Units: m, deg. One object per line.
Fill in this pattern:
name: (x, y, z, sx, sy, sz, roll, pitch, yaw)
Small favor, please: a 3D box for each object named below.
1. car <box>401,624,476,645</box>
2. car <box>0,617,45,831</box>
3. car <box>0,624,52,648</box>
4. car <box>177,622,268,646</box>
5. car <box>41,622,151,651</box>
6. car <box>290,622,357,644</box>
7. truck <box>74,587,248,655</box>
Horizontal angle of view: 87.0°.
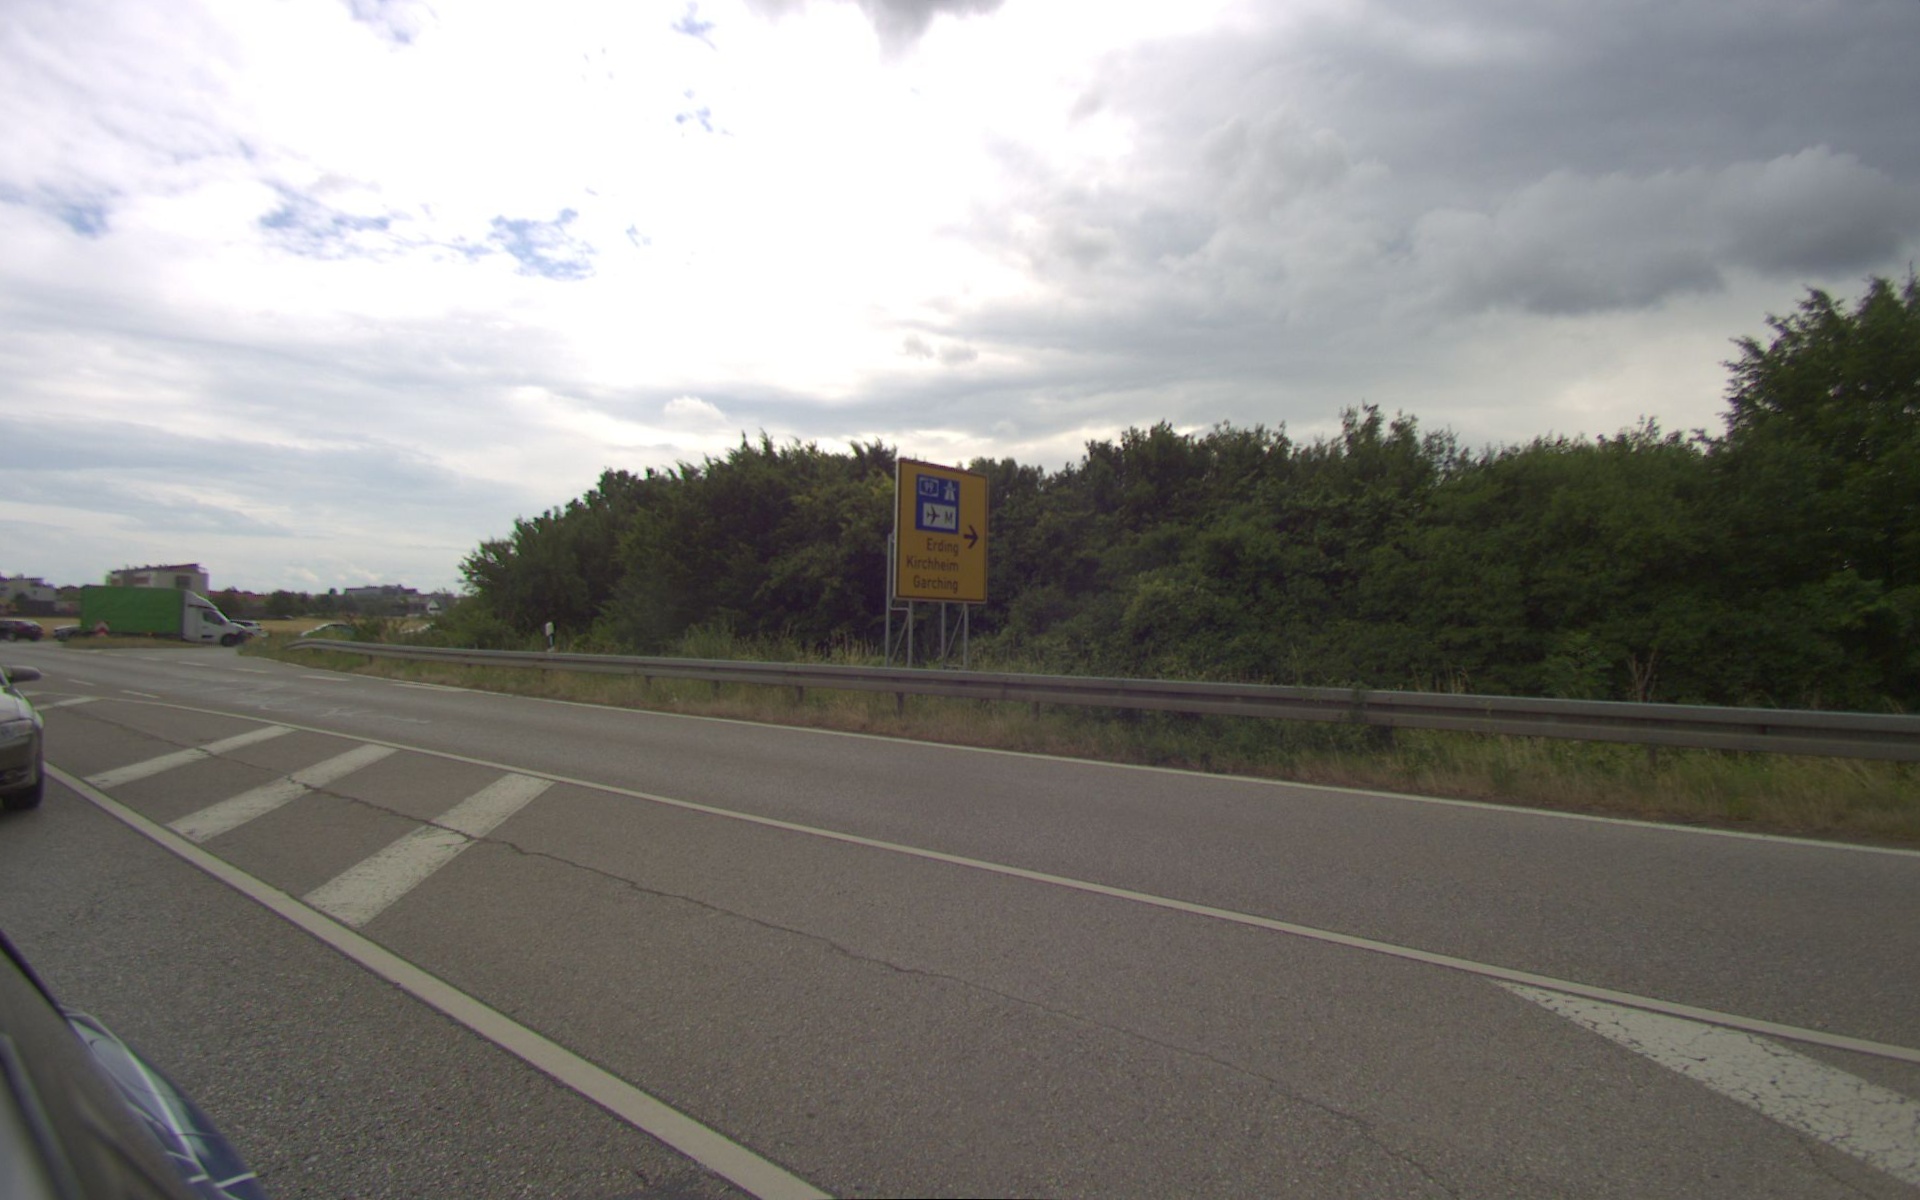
car: (-38.797, 2.571, 75.317, 4.606, 1.510, 2.003, 1, -2, -41)
car: (-8.566, 0.880, 7.811, 4.201, 1.455, 1.708, -1, -1, 40)
car: (-60.324, 2.291, 64.621, 3.812, 1.501, 1.985, 0, -1, 22)
car: (-48.403, 2.201, 66.480, 4.608, 1.510, 2.002, 1, -2, -43)
car: (-52.684, 2.187, 61.795, 1.996, 1.702, 4.758, -1, -2, 36)
car: (-44.189, 2.280, 70.262, 3.662, 1.510, 1.732, 1, -2, -43)
truck: (-44.690, 1.073, 56.806, 7.486, 3.589, 2.938, -1, 0, -41)
